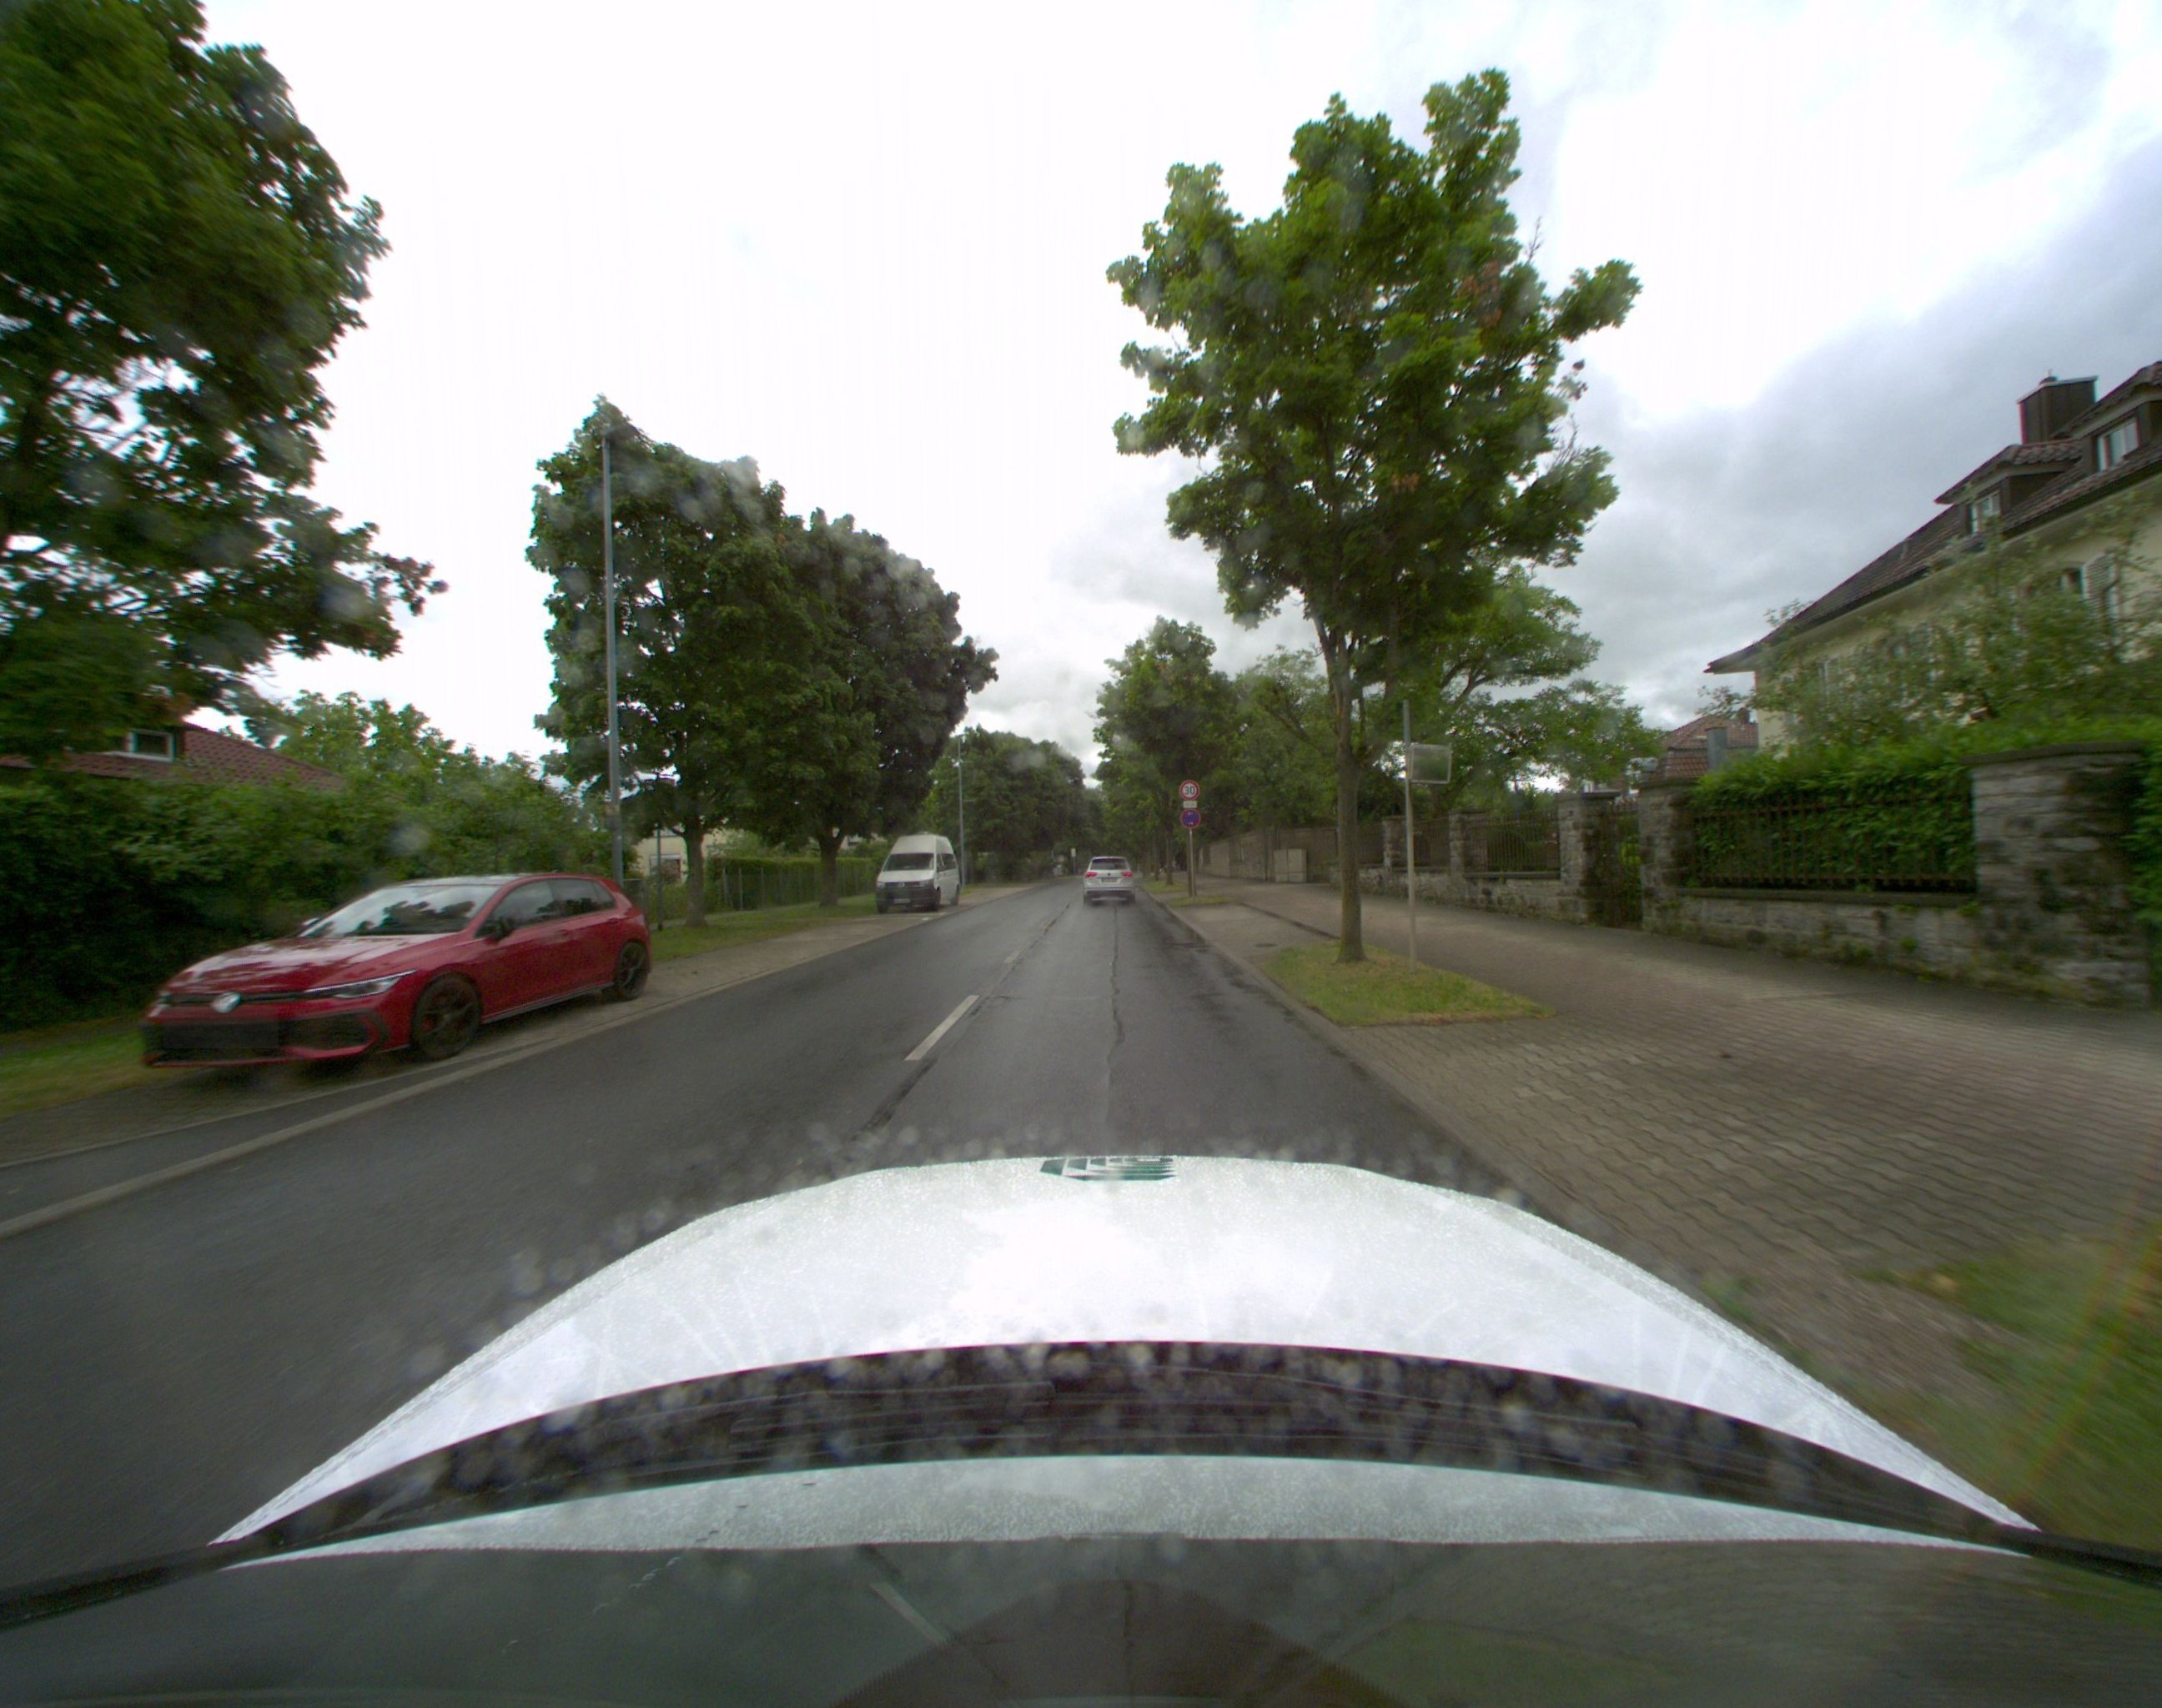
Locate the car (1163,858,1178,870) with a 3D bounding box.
[{"bbox_3d":[12.991,1.476,118.225,1.829,1.487,4.012,-4,-2,11],"label":"car"}]

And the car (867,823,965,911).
[{"bbox_3d":[-5.331,0.398,27.030,1.986,2.561,5.233,-2,0,1],"label":"car"}]

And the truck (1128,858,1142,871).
[{"bbox_3d":[11.975,2.362,179.299,2.270,2.597,5.891,-3,-1,10],"label":"truck"}]

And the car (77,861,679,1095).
[{"bbox_3d":[-5.767,0.847,7.593,1.837,1.466,4.250,-2,0,1],"label":"car"}]

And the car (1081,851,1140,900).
[{"bbox_3d":[1.050,0.731,29.595,1.989,1.632,4.001,-1,0,1],"label":"car"}]

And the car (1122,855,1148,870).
[{"bbox_3d":[5.621,0.853,84.011,1.827,1.487,4.016,0,0,16],"label":"car"}]
